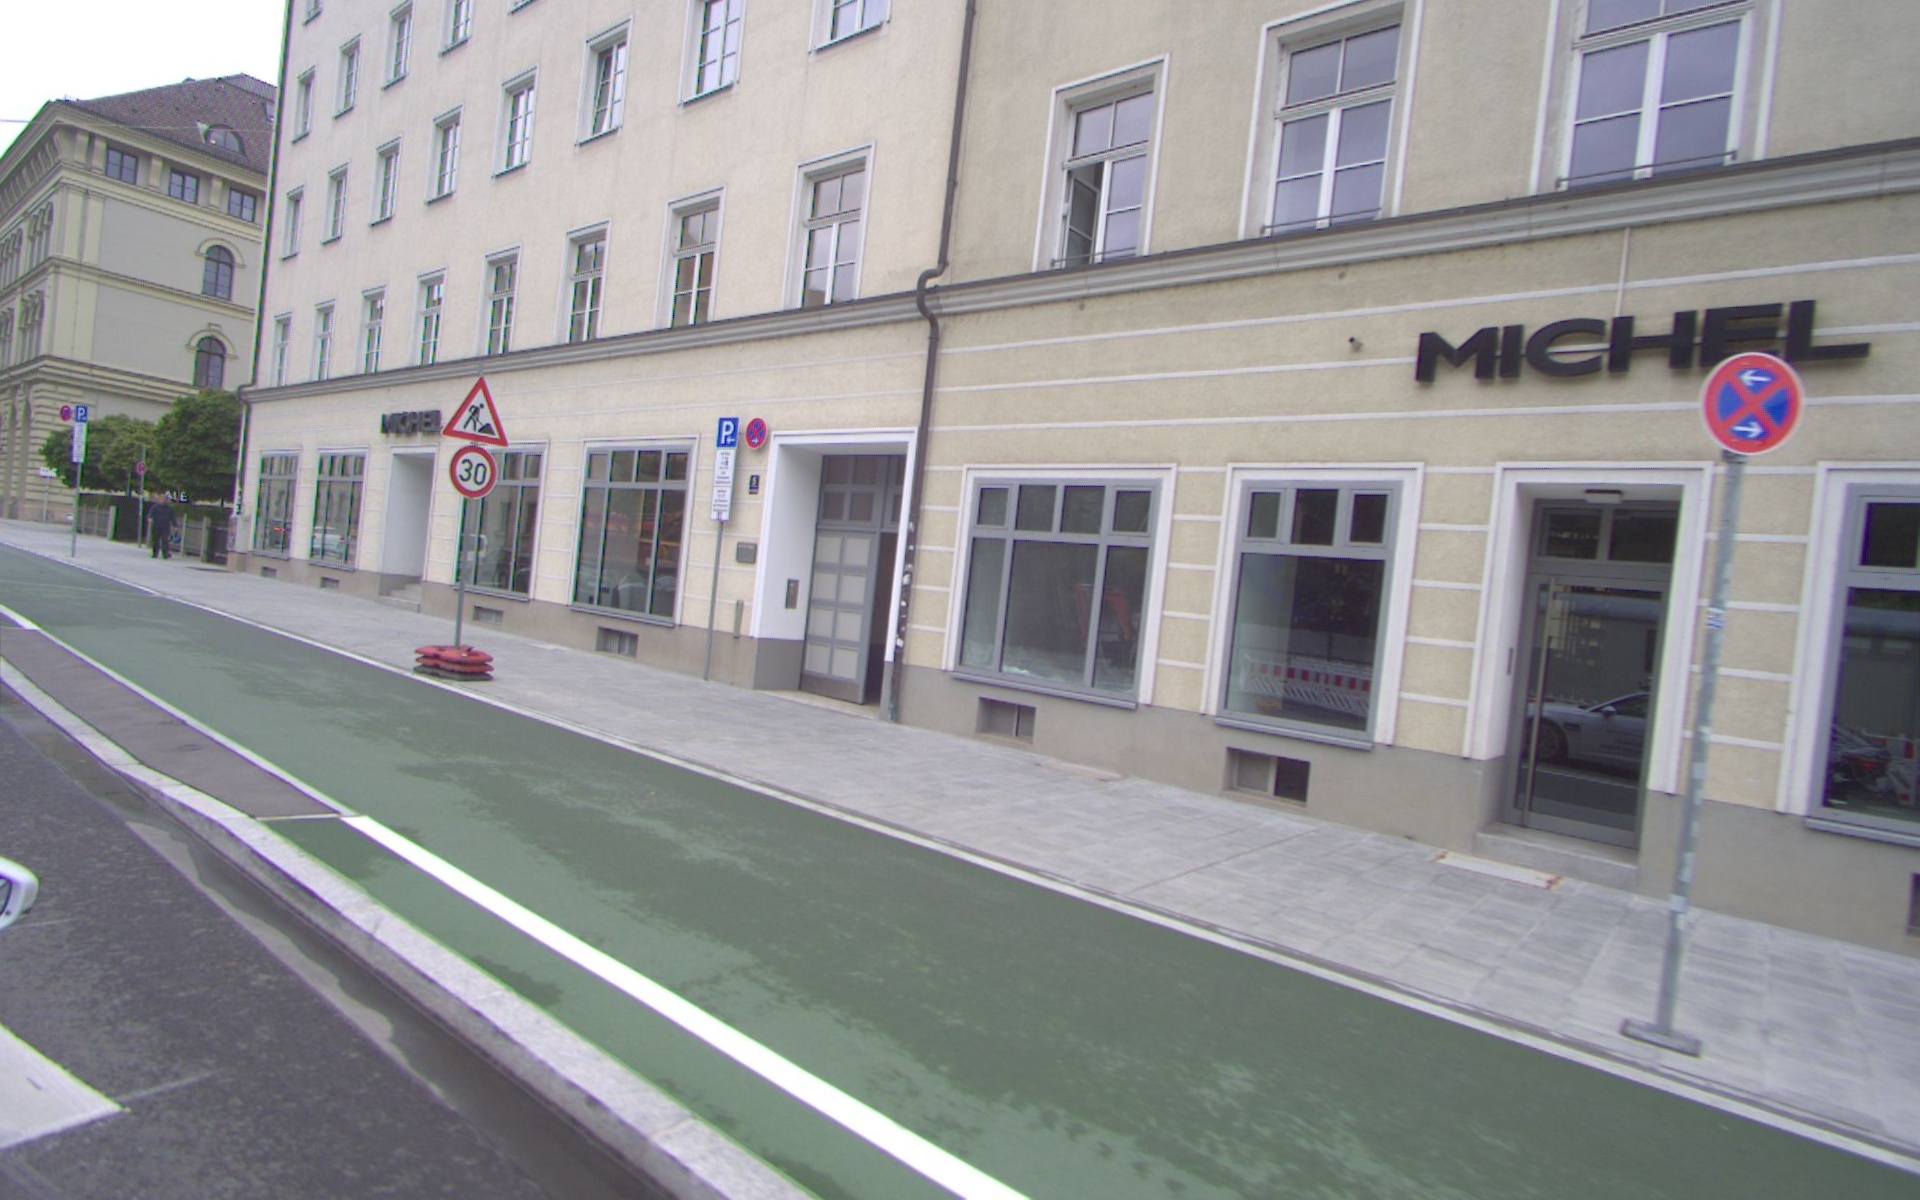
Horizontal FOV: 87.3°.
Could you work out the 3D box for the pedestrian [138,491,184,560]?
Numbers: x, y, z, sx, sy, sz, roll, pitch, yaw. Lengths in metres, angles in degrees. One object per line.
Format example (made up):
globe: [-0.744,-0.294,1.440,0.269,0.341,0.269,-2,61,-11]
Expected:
pedestrian: [-23.125,-2.164,29.133,0.766,1.860,0.789,8,2,40]
